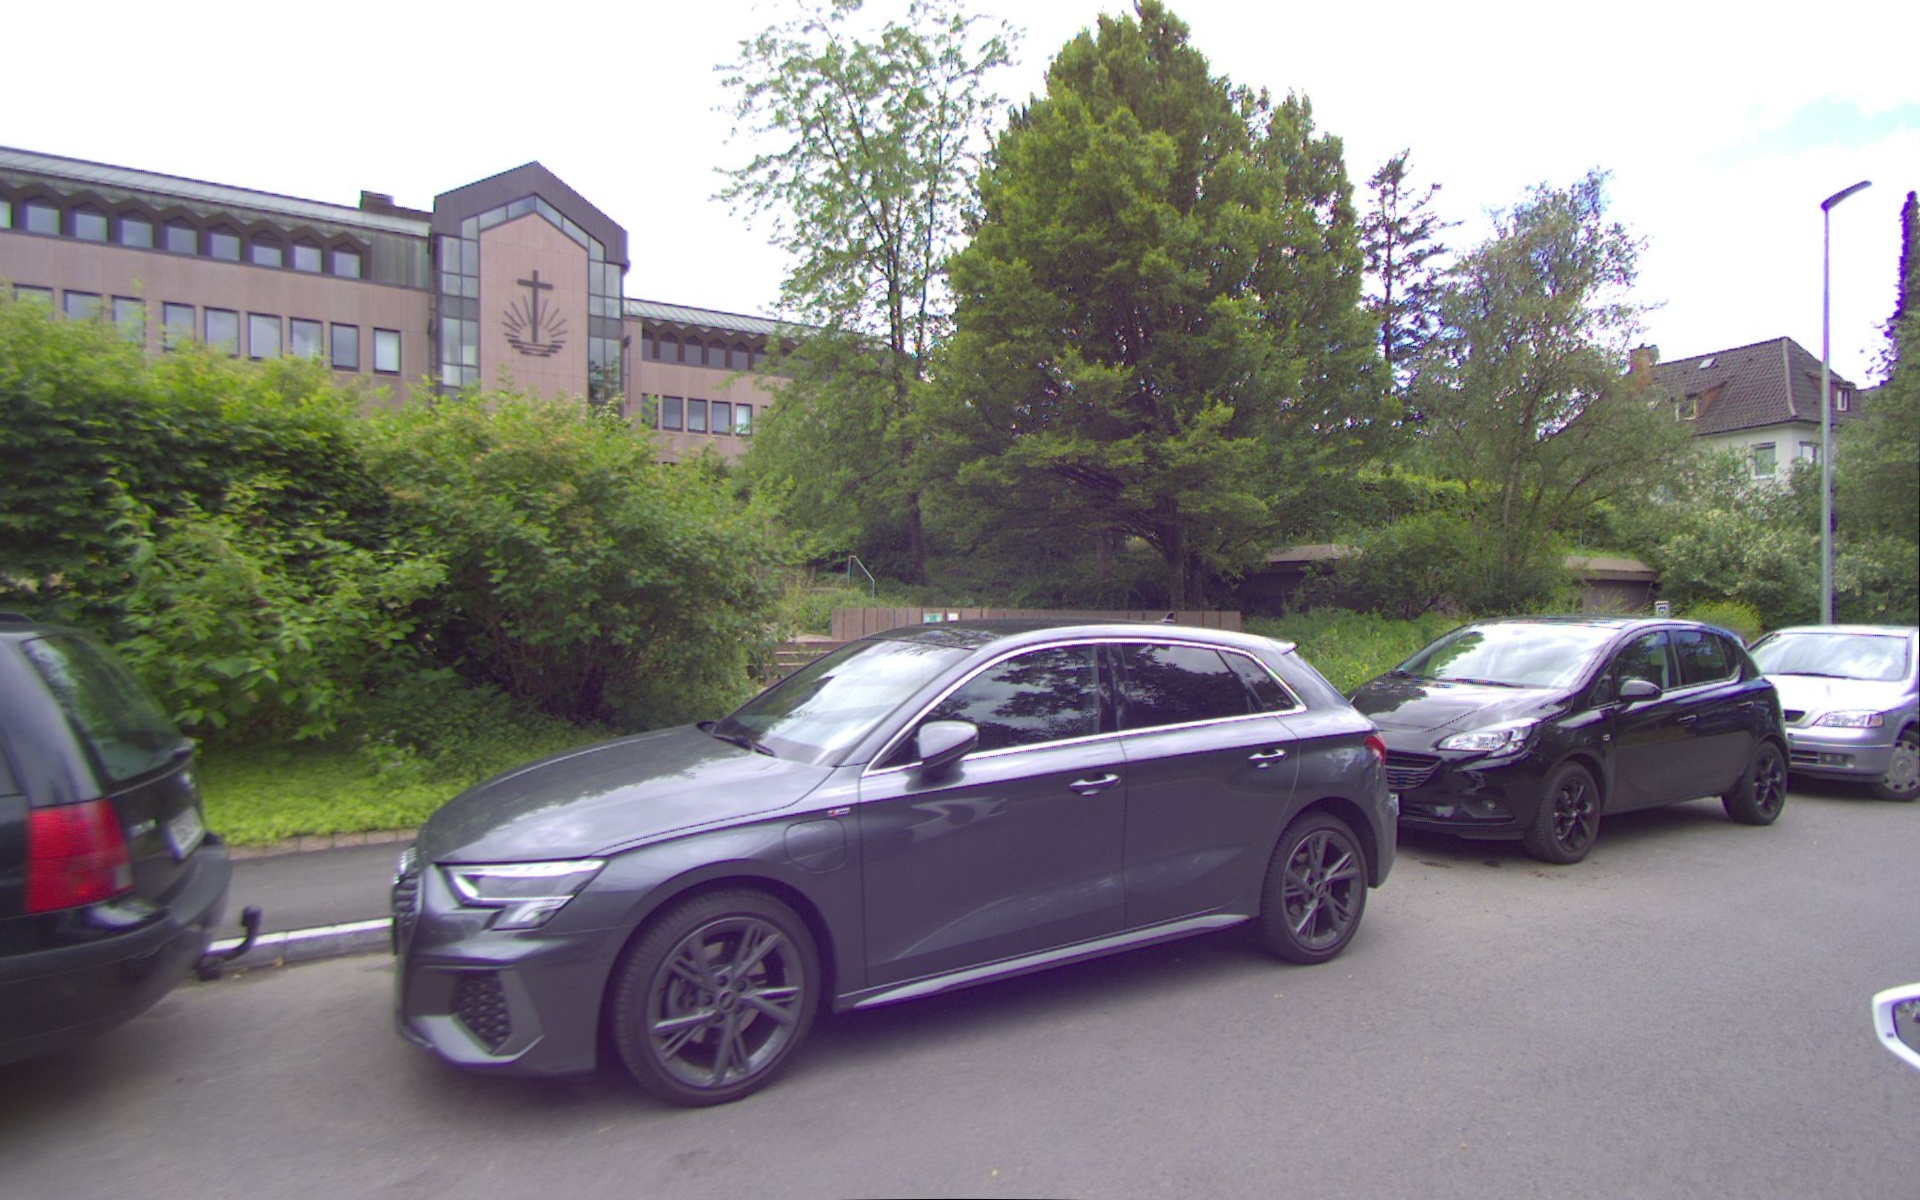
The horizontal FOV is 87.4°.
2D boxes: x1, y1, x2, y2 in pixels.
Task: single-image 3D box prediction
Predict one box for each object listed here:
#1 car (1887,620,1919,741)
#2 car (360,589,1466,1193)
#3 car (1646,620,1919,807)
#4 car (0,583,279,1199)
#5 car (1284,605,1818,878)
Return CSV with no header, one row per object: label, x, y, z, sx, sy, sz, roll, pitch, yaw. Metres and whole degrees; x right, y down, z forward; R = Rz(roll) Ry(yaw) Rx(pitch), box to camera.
car,14.031,1.020,12.938,5.047,1.451,1.769,1,0,-31
car,0.037,0.769,4.350,4.441,1.502,1.699,1,-1,-30
car,8.532,0.928,9.637,4.302,1.451,1.616,1,-1,-31
car,-4.392,0.692,2.213,4.638,1.502,1.674,1,-1,-30
car,4.336,0.822,7.237,3.953,1.502,1.616,1,-1,-30
